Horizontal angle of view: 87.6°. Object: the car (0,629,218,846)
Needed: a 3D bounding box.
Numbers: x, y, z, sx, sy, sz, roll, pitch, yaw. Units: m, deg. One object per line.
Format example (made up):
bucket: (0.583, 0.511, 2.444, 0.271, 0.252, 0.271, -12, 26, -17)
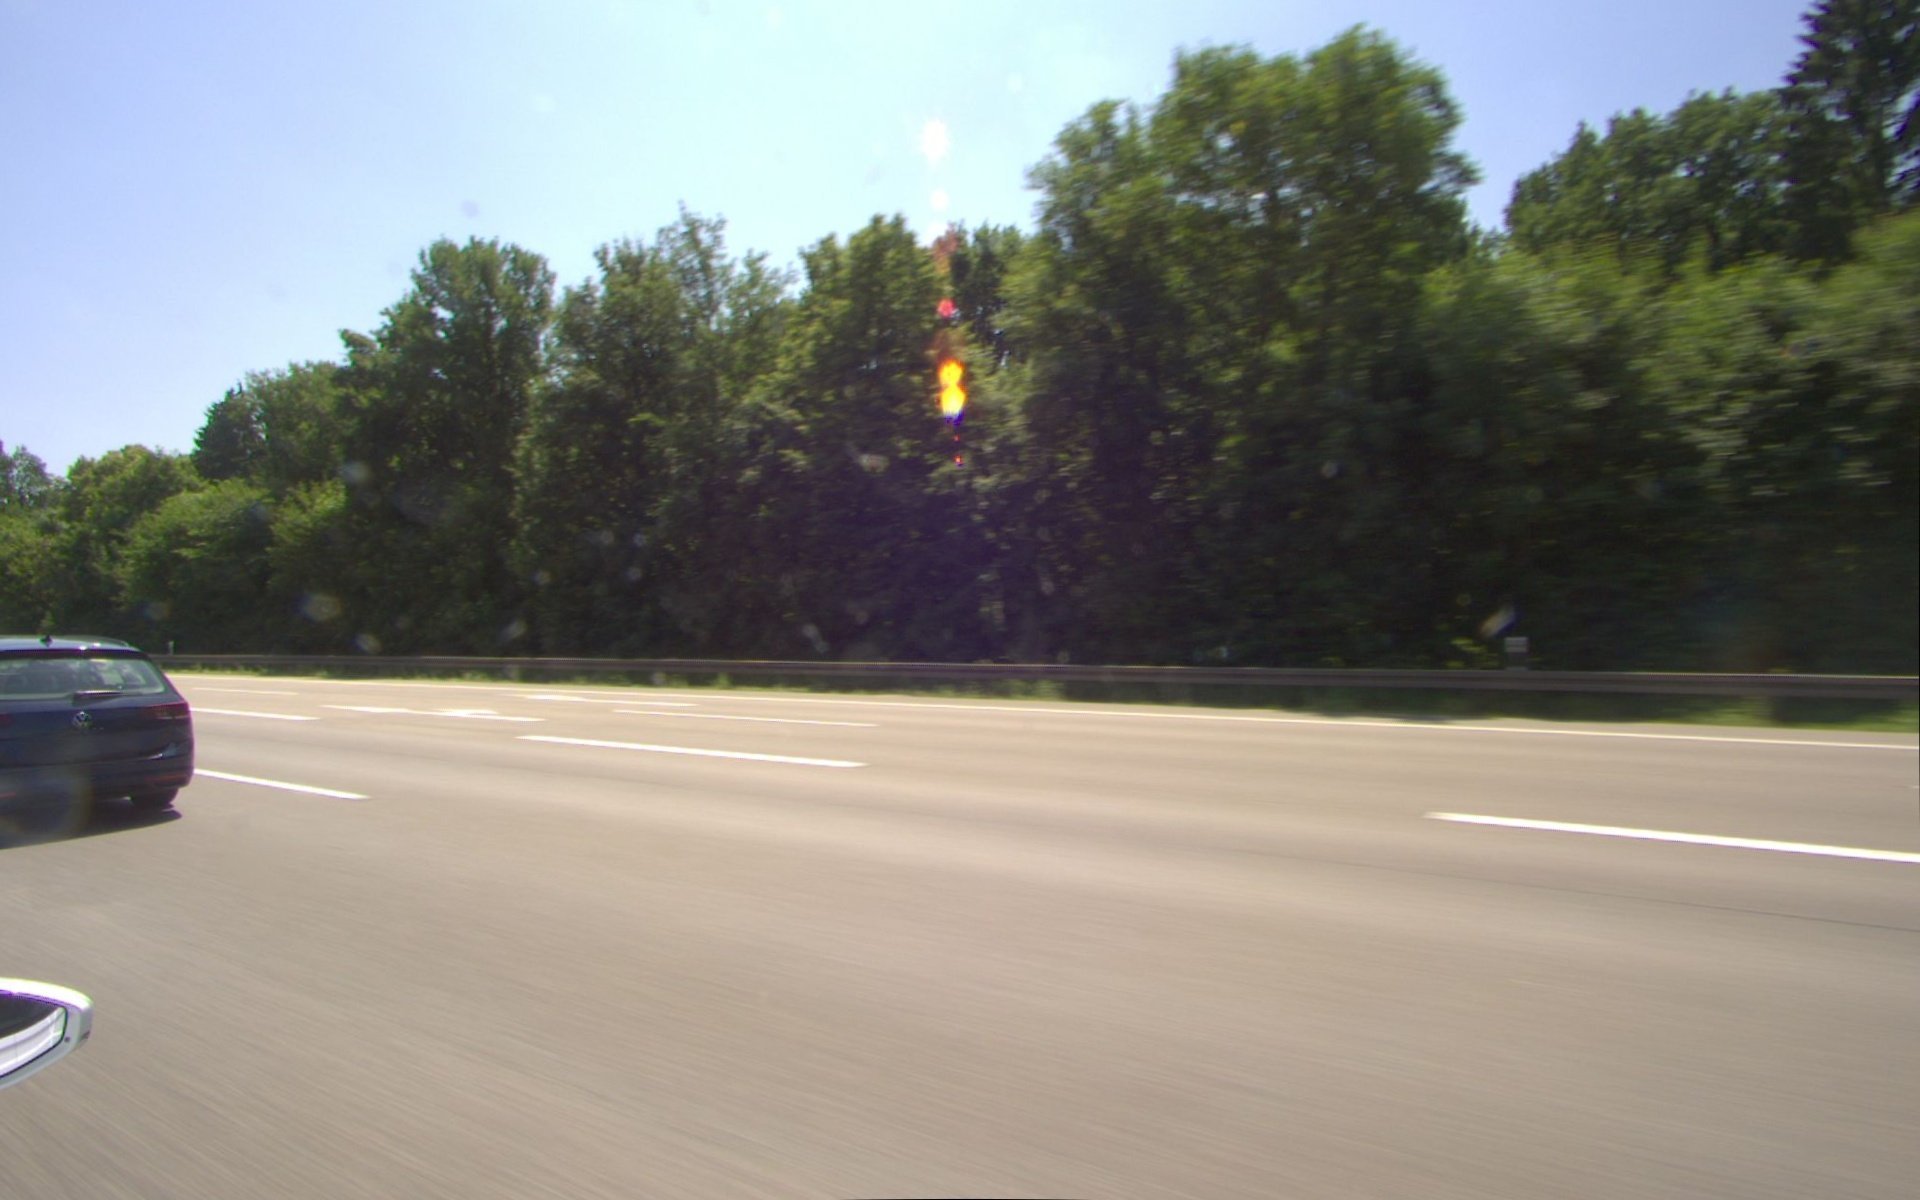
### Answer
car: (-8.365, 0.984, 8.496, 4.891, 1.466, 1.726, -1, -1, 33)
